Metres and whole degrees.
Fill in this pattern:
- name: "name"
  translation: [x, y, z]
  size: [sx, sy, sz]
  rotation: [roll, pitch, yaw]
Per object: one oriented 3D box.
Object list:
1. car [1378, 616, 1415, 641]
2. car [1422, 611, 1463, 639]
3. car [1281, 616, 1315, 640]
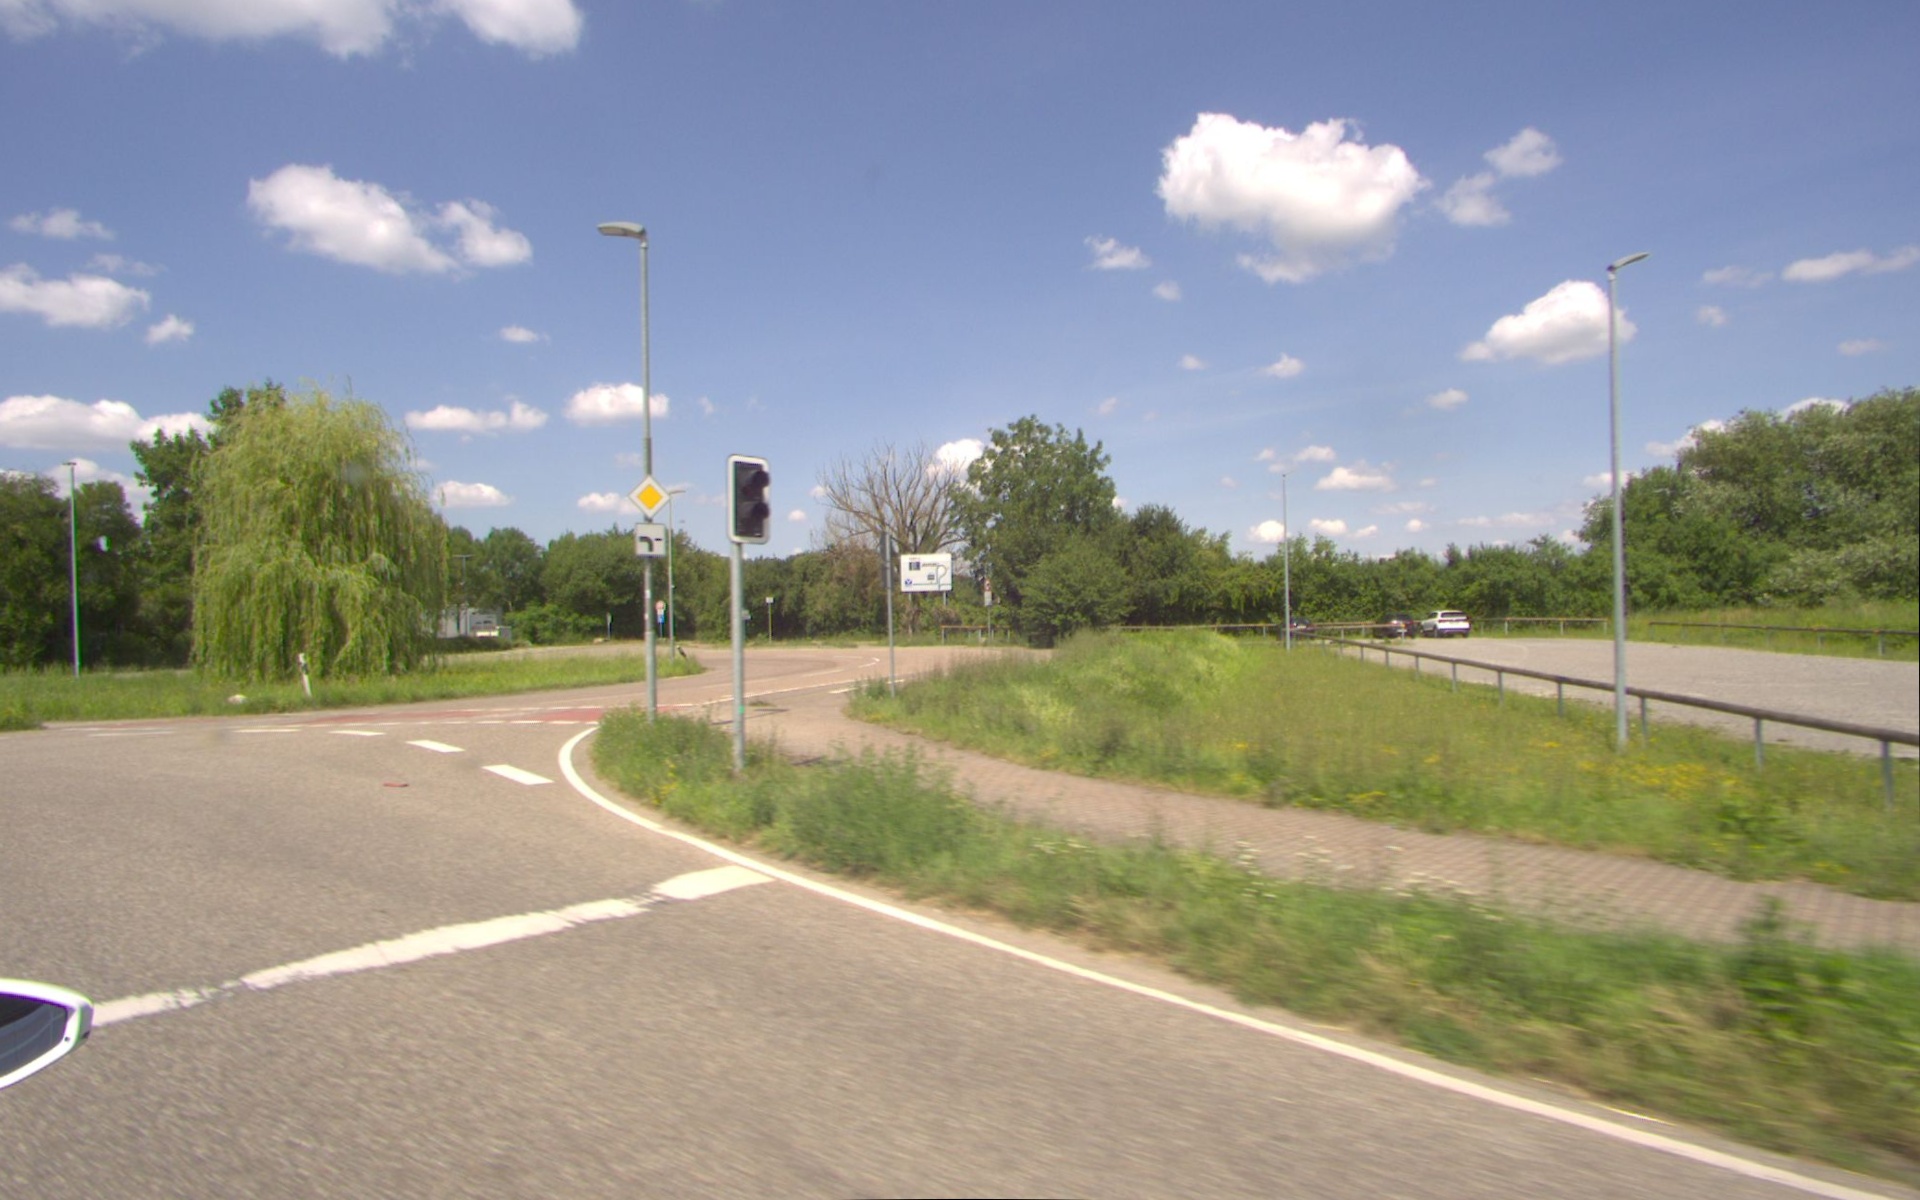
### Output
- name: "car"
  translation: [24.978, 1.635, 57.386]
  size: [1.392, 1.354, 3.117]
  rotation: [-2, -3, 13]
- name: "car"
  translation: [27.501, 1.438, 57.142]
  size: [1.392, 1.523, 3.117]
  rotation: [-2, -2, 13]
- name: "car"
  translation: [19.847, 1.657, 58.799]
  size: [1.392, 1.354, 3.118]
  rotation: [-2, -2, 10]
